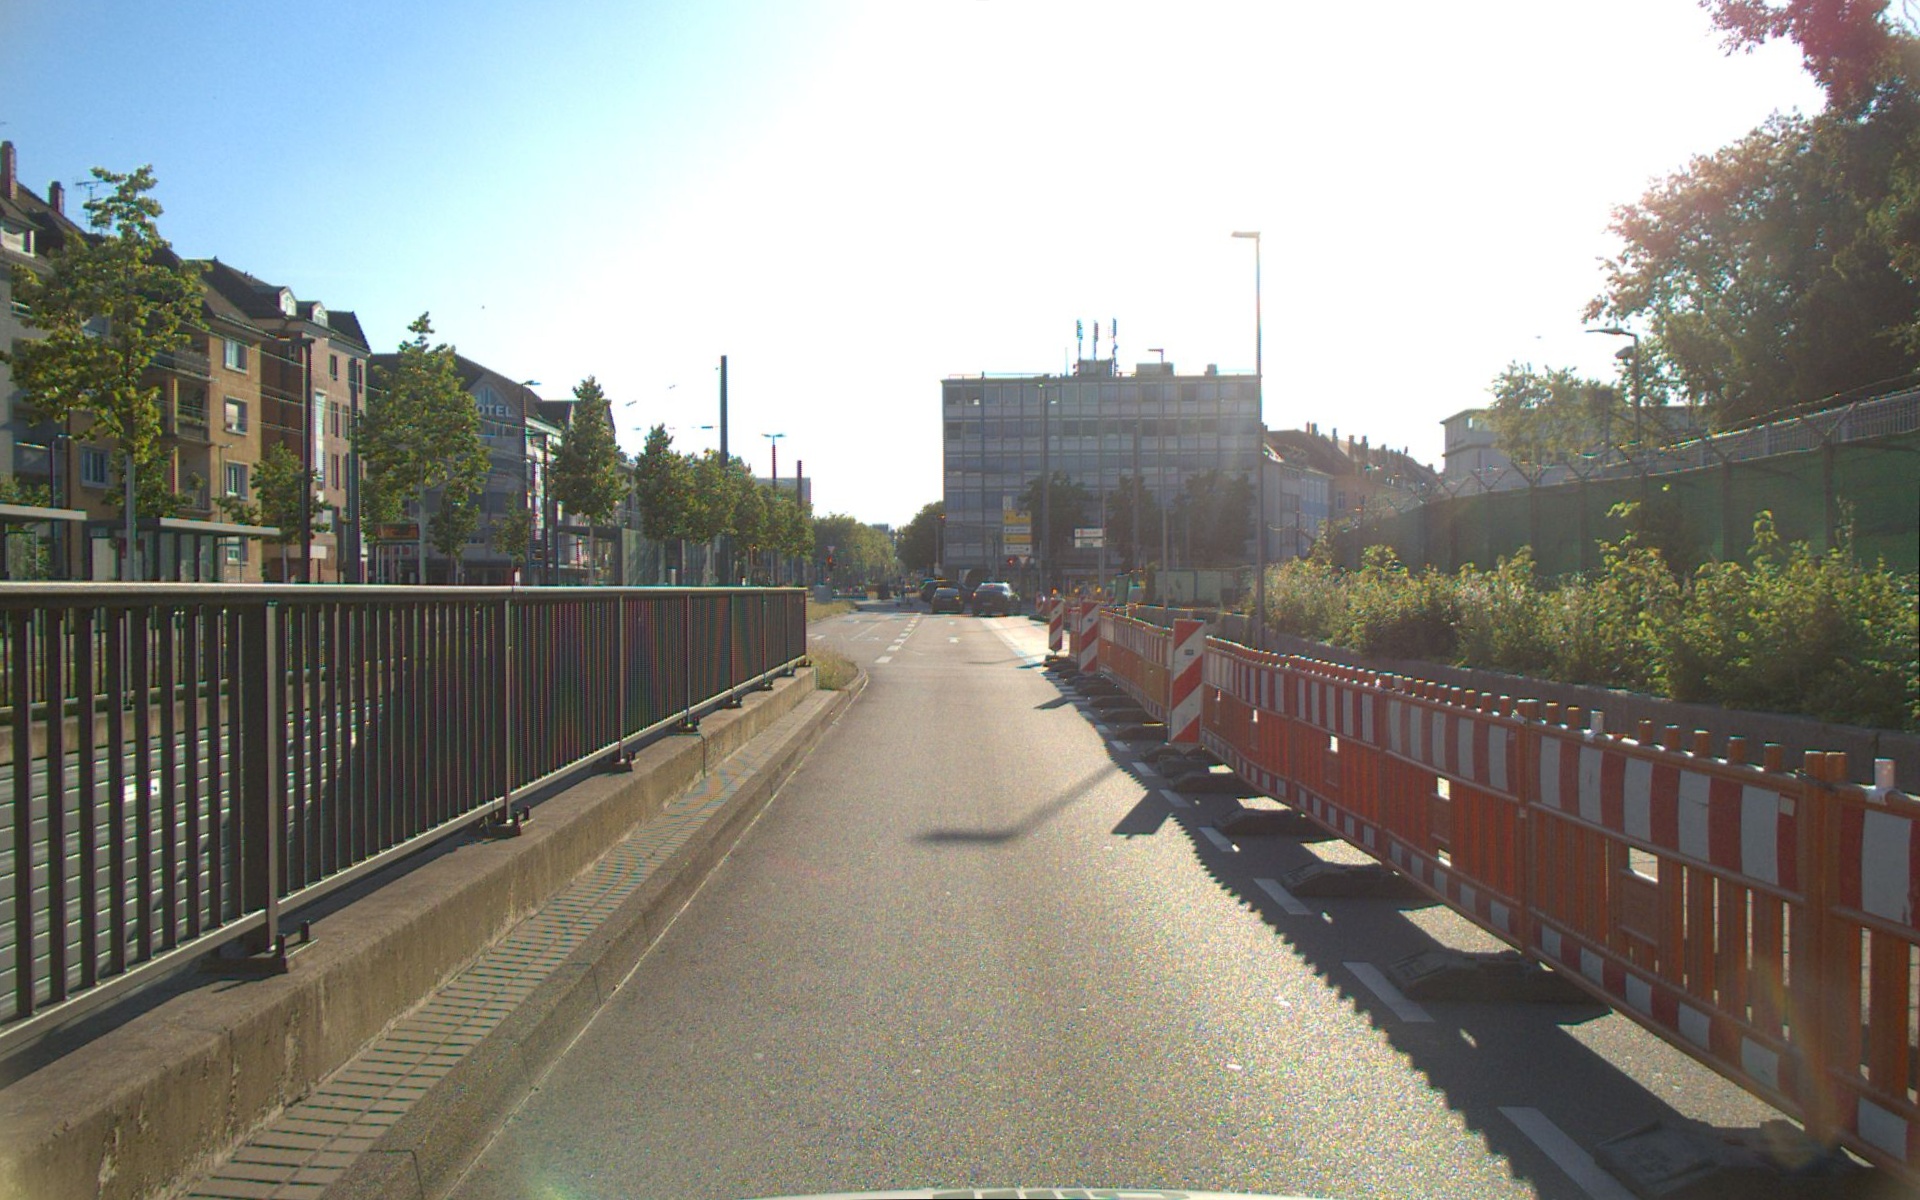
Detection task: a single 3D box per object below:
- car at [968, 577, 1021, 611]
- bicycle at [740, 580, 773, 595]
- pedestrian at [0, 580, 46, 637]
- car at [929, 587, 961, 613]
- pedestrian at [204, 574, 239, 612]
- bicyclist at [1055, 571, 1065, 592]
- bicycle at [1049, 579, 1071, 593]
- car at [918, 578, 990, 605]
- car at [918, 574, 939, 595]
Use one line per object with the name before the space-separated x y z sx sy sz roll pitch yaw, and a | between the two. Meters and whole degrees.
car | 1.881 -0.344 89.068 1.951 1.723 4.003 1 2 15
bicycle | -14.070 -0.867 114.307 2.180 1.044 0.682 0 0 2
pedestrian | -20.683 0.187 36.218 0.915 1.218 0.764 -1 0 -1
car | -0.870 0.000 94.388 1.709 1.451 3.998 0 1 -3
pedestrian | -20.552 -0.197 46.050 0.614 1.065 0.794 -1 0 -1
bicyclist | 8.282 -1.506 136.906 0.651 1.742 0.537 -1 0 -11
bicycle | 8.292 -1.171 136.912 1.744 1.091 0.534 -1 0 -11
car | -0.396 -0.609 115.880 4.715 1.780 2.002 1 0 11
car | -3.825 -1.831 198.541 2.436 2.434 5.932 -2 0 -2
